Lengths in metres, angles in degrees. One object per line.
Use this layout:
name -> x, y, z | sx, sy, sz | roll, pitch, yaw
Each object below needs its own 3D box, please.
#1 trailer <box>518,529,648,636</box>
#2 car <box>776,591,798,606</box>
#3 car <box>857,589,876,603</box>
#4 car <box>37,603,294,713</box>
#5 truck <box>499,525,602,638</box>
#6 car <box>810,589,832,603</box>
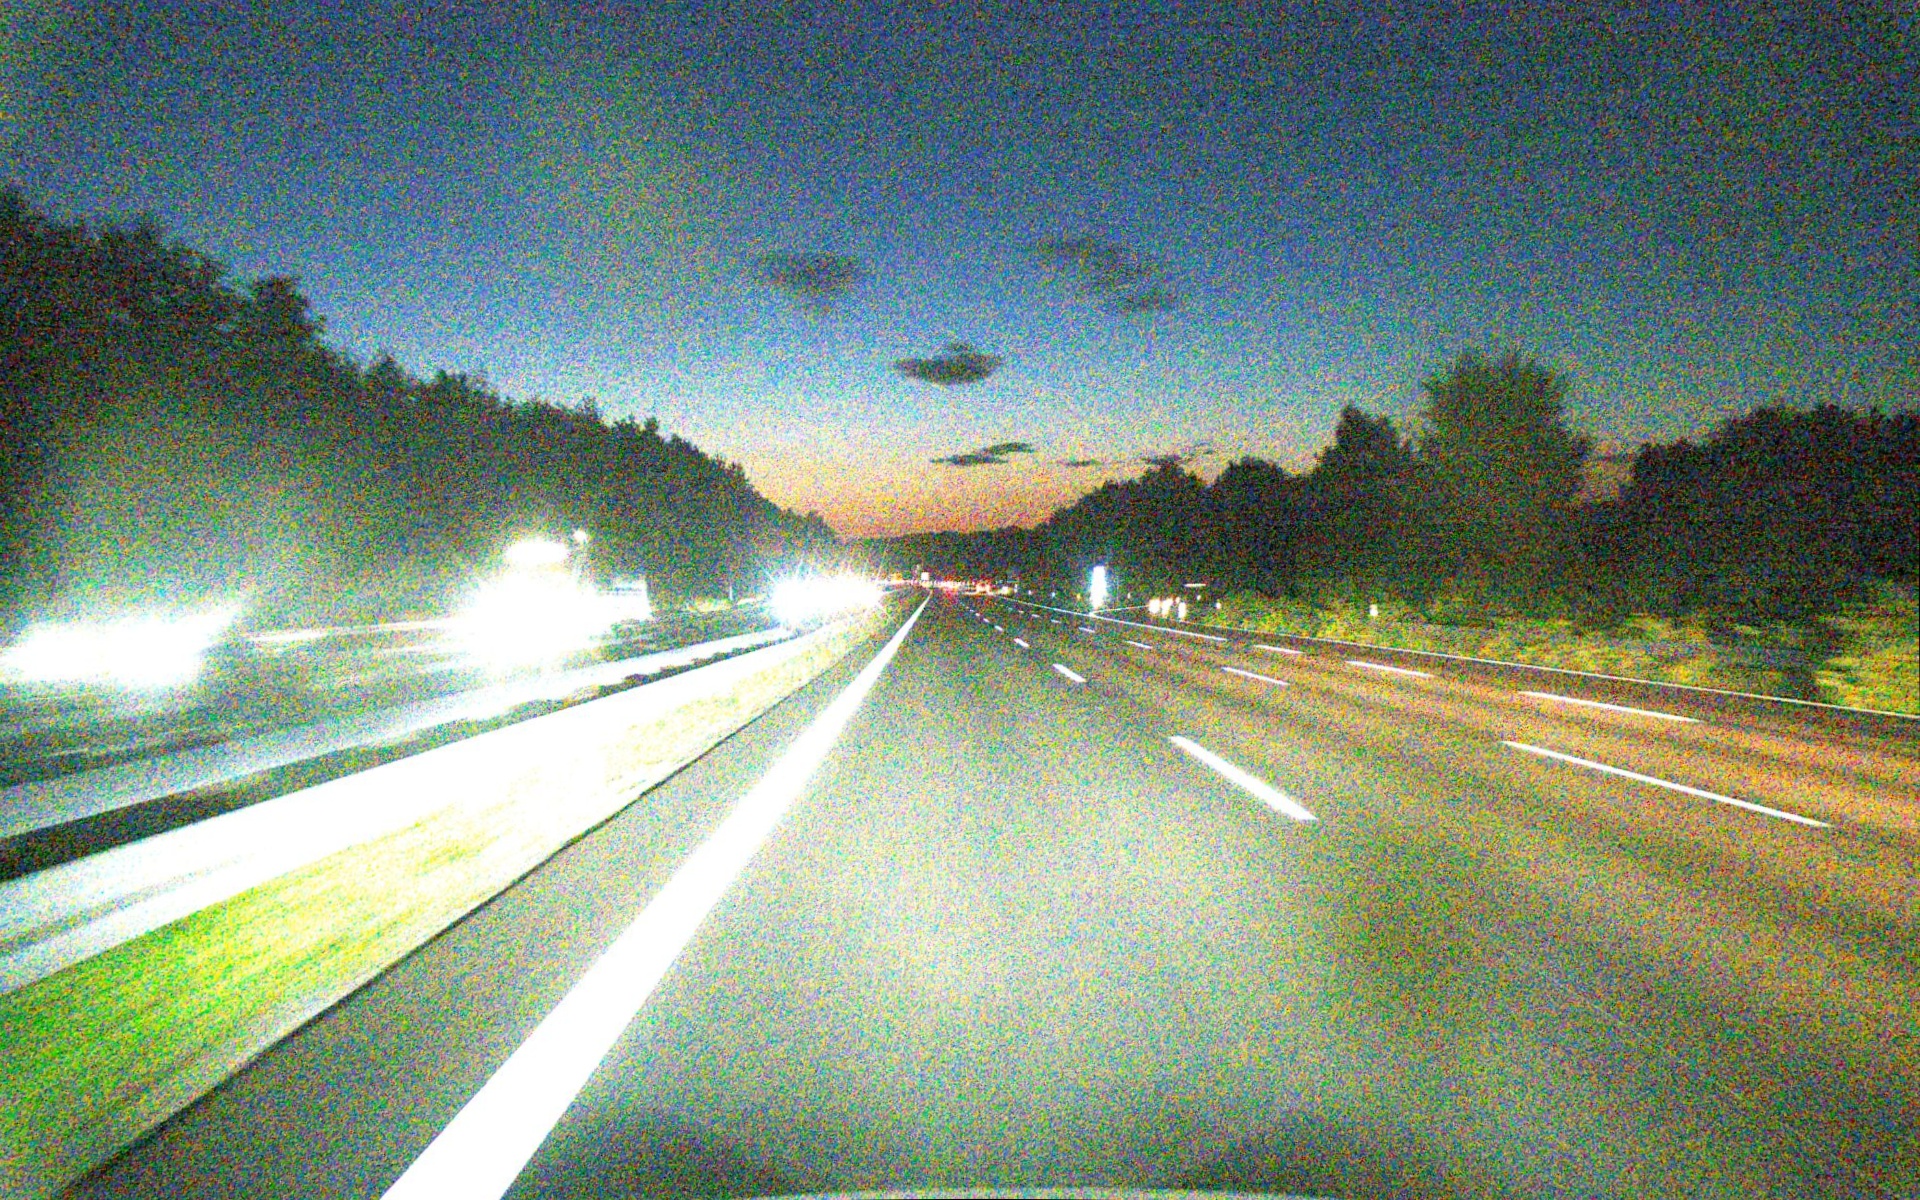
trailer -> -16.631, -0.721, 74.135 | 2.802, 4.248, 13.901 | -2, 0, -1
car -> -18.776, -0.139, 179.540 | 1.953, 1.511, 4.800 | -2, 0, -1
car -> -11.286, -0.511, 199.903 | 1.953, 1.487, 4.900 | -3, 0, 0
car -> -12.330, 0.830, 26.056 | 1.954, 1.486, 4.689 | -2, 0, -3
truck -> -16.470, -0.710, 66.882 | 2.698, 4.285, 5.824 | -2, 0, -1
car -> -15.010, -0.462, 178.941 | 1.953, 1.418, 5.704 | -1, 0, -1
